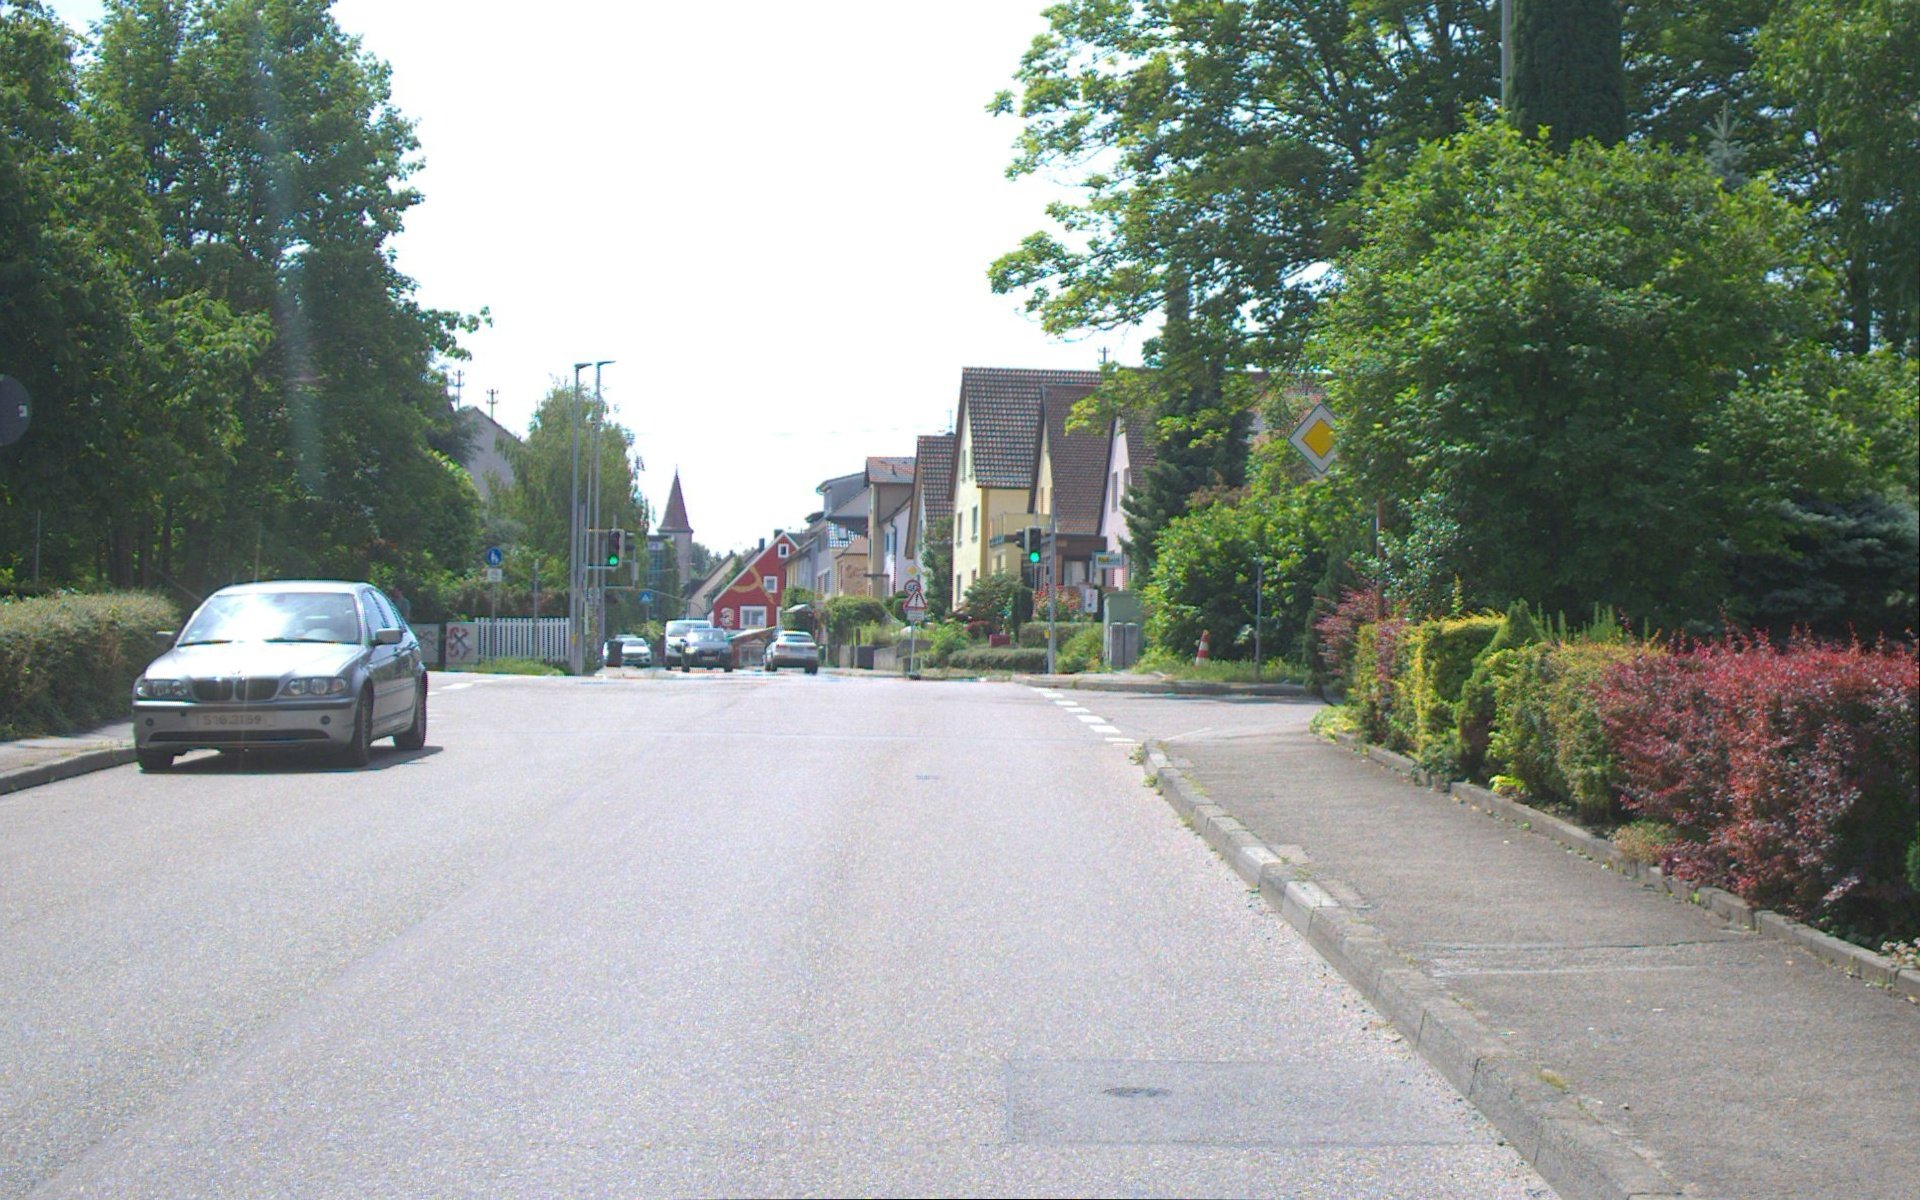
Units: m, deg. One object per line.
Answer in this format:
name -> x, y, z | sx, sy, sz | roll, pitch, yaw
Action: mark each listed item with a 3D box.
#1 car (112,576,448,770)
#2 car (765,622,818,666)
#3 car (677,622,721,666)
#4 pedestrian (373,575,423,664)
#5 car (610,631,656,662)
car -> -5.256, 0.523, 27.102 | 1.780, 1.390, 4.409 | -1, 0, 0
car -> -6.599, 1.715, 134.754 | 1.993, 1.598, 4.000 | 0, 1, -2
car -> -9.525, 1.594, 125.263 | 1.534, 1.536, 4.305 | 0, 0, -5
pedestrian -> -11.369, 0.401, 69.532 | 0.736, 1.771, 0.689 | -2, -2, 18
car -> -16.613, 2.355, 175.022 | 2.110, 1.555, 4.314 | 0, -1, -2
